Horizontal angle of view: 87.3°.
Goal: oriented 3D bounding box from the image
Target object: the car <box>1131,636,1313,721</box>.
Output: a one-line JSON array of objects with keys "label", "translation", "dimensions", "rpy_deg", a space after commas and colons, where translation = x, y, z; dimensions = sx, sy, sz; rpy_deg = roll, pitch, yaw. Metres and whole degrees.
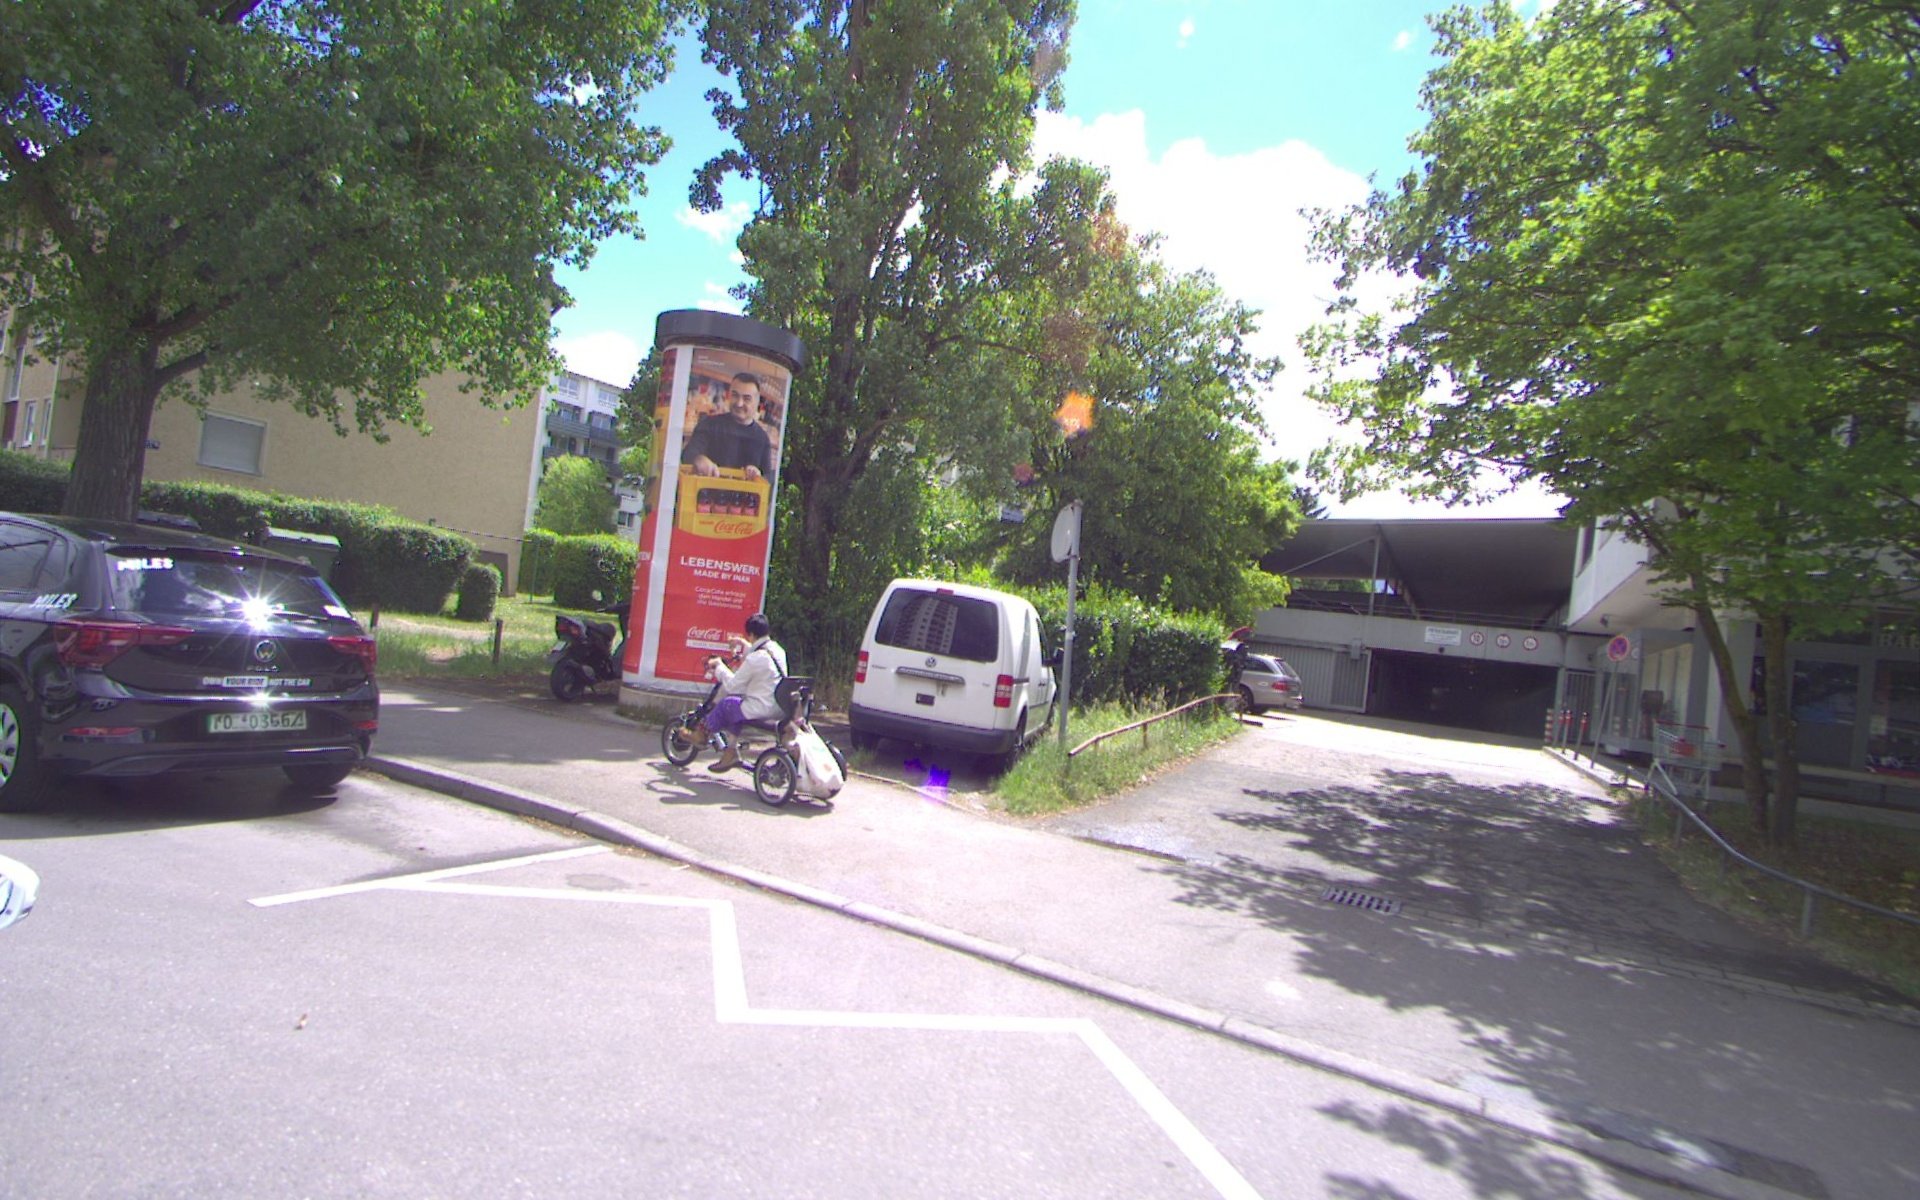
[{"label": "car", "translation": [6.540, 1.948, 25.218], "dimensions": [3.935, 1.488, 1.745], "rpy_deg": [8, 0, 33]}]

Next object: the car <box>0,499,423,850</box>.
[{"label": "car", "translation": [-5.299, 0.220, 6.090], "dimensions": [3.761, 1.466, 1.818], "rpy_deg": [7, 0, 30]}]

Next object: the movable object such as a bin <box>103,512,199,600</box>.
[{"label": "movable object such as a bin", "translation": [-15.179, -0.814, 18.884], "dimensions": [0.749, 1.456, 1.099], "rpy_deg": [8, 0, 32]}]

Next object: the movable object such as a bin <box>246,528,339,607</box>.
[{"label": "movable object such as a bin", "translation": [-13.880, -0.667, 20.946], "dimensions": [1.040, 1.456, 1.170], "rpy_deg": [8, 0, 32]}]

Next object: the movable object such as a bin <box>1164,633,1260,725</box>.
[{"label": "movable object such as a bin", "translation": [4.570, 1.424, 18.206], "dimensions": [1.264, 1.447, 1.116], "rpy_deg": [8, 0, 31]}]

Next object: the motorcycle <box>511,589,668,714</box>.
[{"label": "motorcycle", "translation": [-4.133, 0.567, 11.386], "dimensions": [0.698, 1.225, 1.802], "rpy_deg": [7, 0, 12]}]

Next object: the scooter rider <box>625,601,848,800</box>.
[{"label": "scooter rider", "translation": [-1.692, 0.727, 7.644], "dimensions": [1.260, 1.235, 0.886], "rpy_deg": [8, 1, 31]}]

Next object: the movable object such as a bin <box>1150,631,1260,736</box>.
[{"label": "movable object such as a bin", "translation": [3.919, 1.316, 16.053], "dimensions": [1.264, 1.447, 1.116], "rpy_deg": [8, 0, 31]}]

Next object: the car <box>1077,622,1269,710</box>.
[{"label": "car", "translation": [4.982, 1.530, 23.718], "dimensions": [3.938, 1.461, 1.744], "rpy_deg": [7, 0, 36]}]

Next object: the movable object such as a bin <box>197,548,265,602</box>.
[{"label": "movable object such as a bin", "translation": [-14.527, -0.502, 20.057], "dimensions": [0.749, 0.927, 0.803], "rpy_deg": [8, 0, 32]}]

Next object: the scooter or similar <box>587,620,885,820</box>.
[{"label": "scooter or similar", "translation": [-1.728, 0.850, 7.657], "dimensions": [2.078, 1.077, 0.891], "rpy_deg": [8, 1, 32]}]

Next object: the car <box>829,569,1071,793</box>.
[{"label": "car", "translation": [0.103, 0.809, 11.366], "dimensions": [1.776, 1.845, 4.002], "rpy_deg": [7, 0, 11]}]
